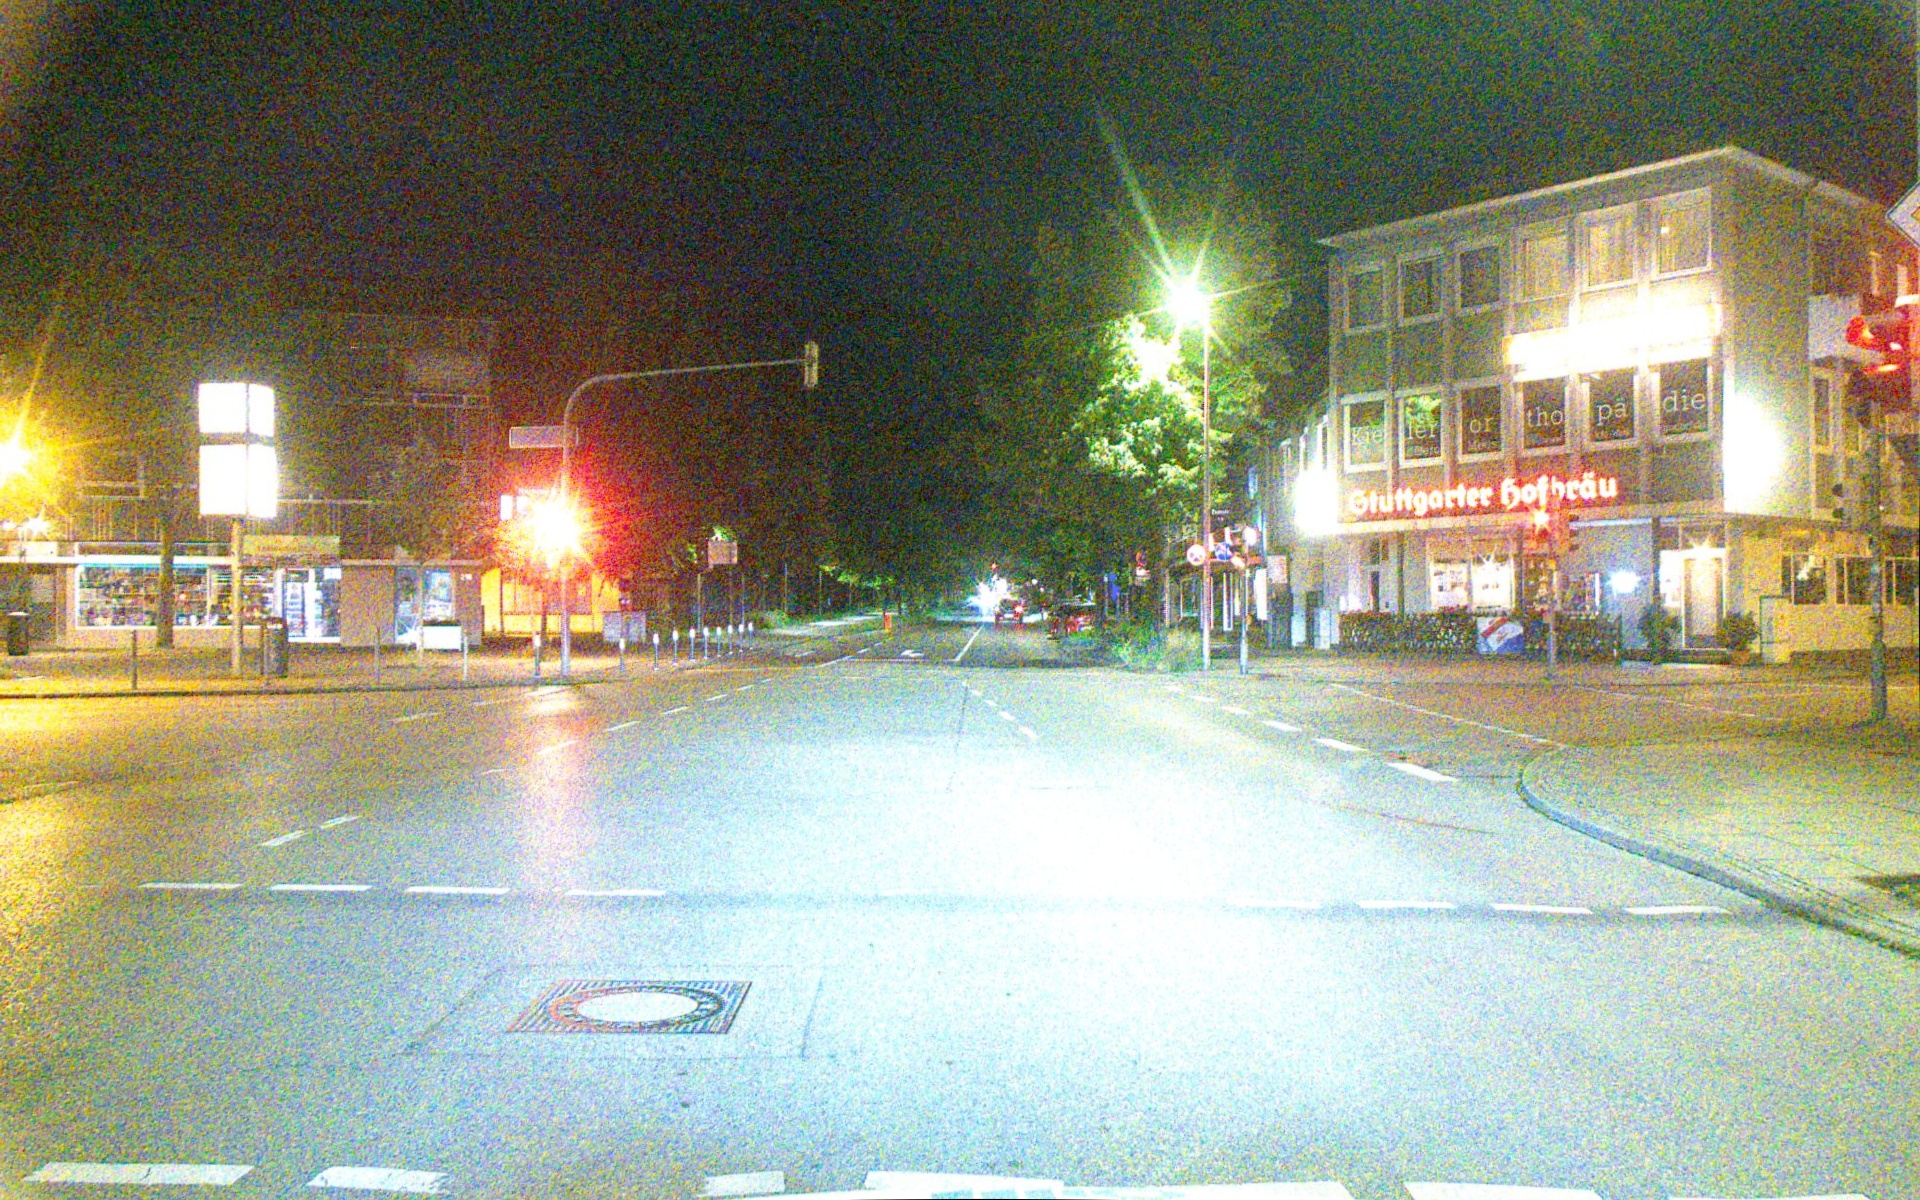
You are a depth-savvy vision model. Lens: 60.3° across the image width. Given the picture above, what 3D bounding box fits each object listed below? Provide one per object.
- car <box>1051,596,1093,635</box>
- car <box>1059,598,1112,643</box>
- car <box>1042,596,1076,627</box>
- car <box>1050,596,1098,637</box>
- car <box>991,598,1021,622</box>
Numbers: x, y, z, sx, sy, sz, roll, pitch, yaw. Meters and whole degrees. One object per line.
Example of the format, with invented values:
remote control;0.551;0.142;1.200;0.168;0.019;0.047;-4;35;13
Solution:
car;5.150;0.711;76.524;1.837;1.759;4.001;0;0;2
car;4.798;0.764;63.640;1.837;1.643;4.001;0;0;2
car;5.661;0.664;94.555;1.837;1.713;4.001;0;0;2
car;4.726;0.682;68.847;1.837;1.643;4.001;0;0;2
car;2.843;0.619;102.972;1.835;1.479;4.317;1;0;1
